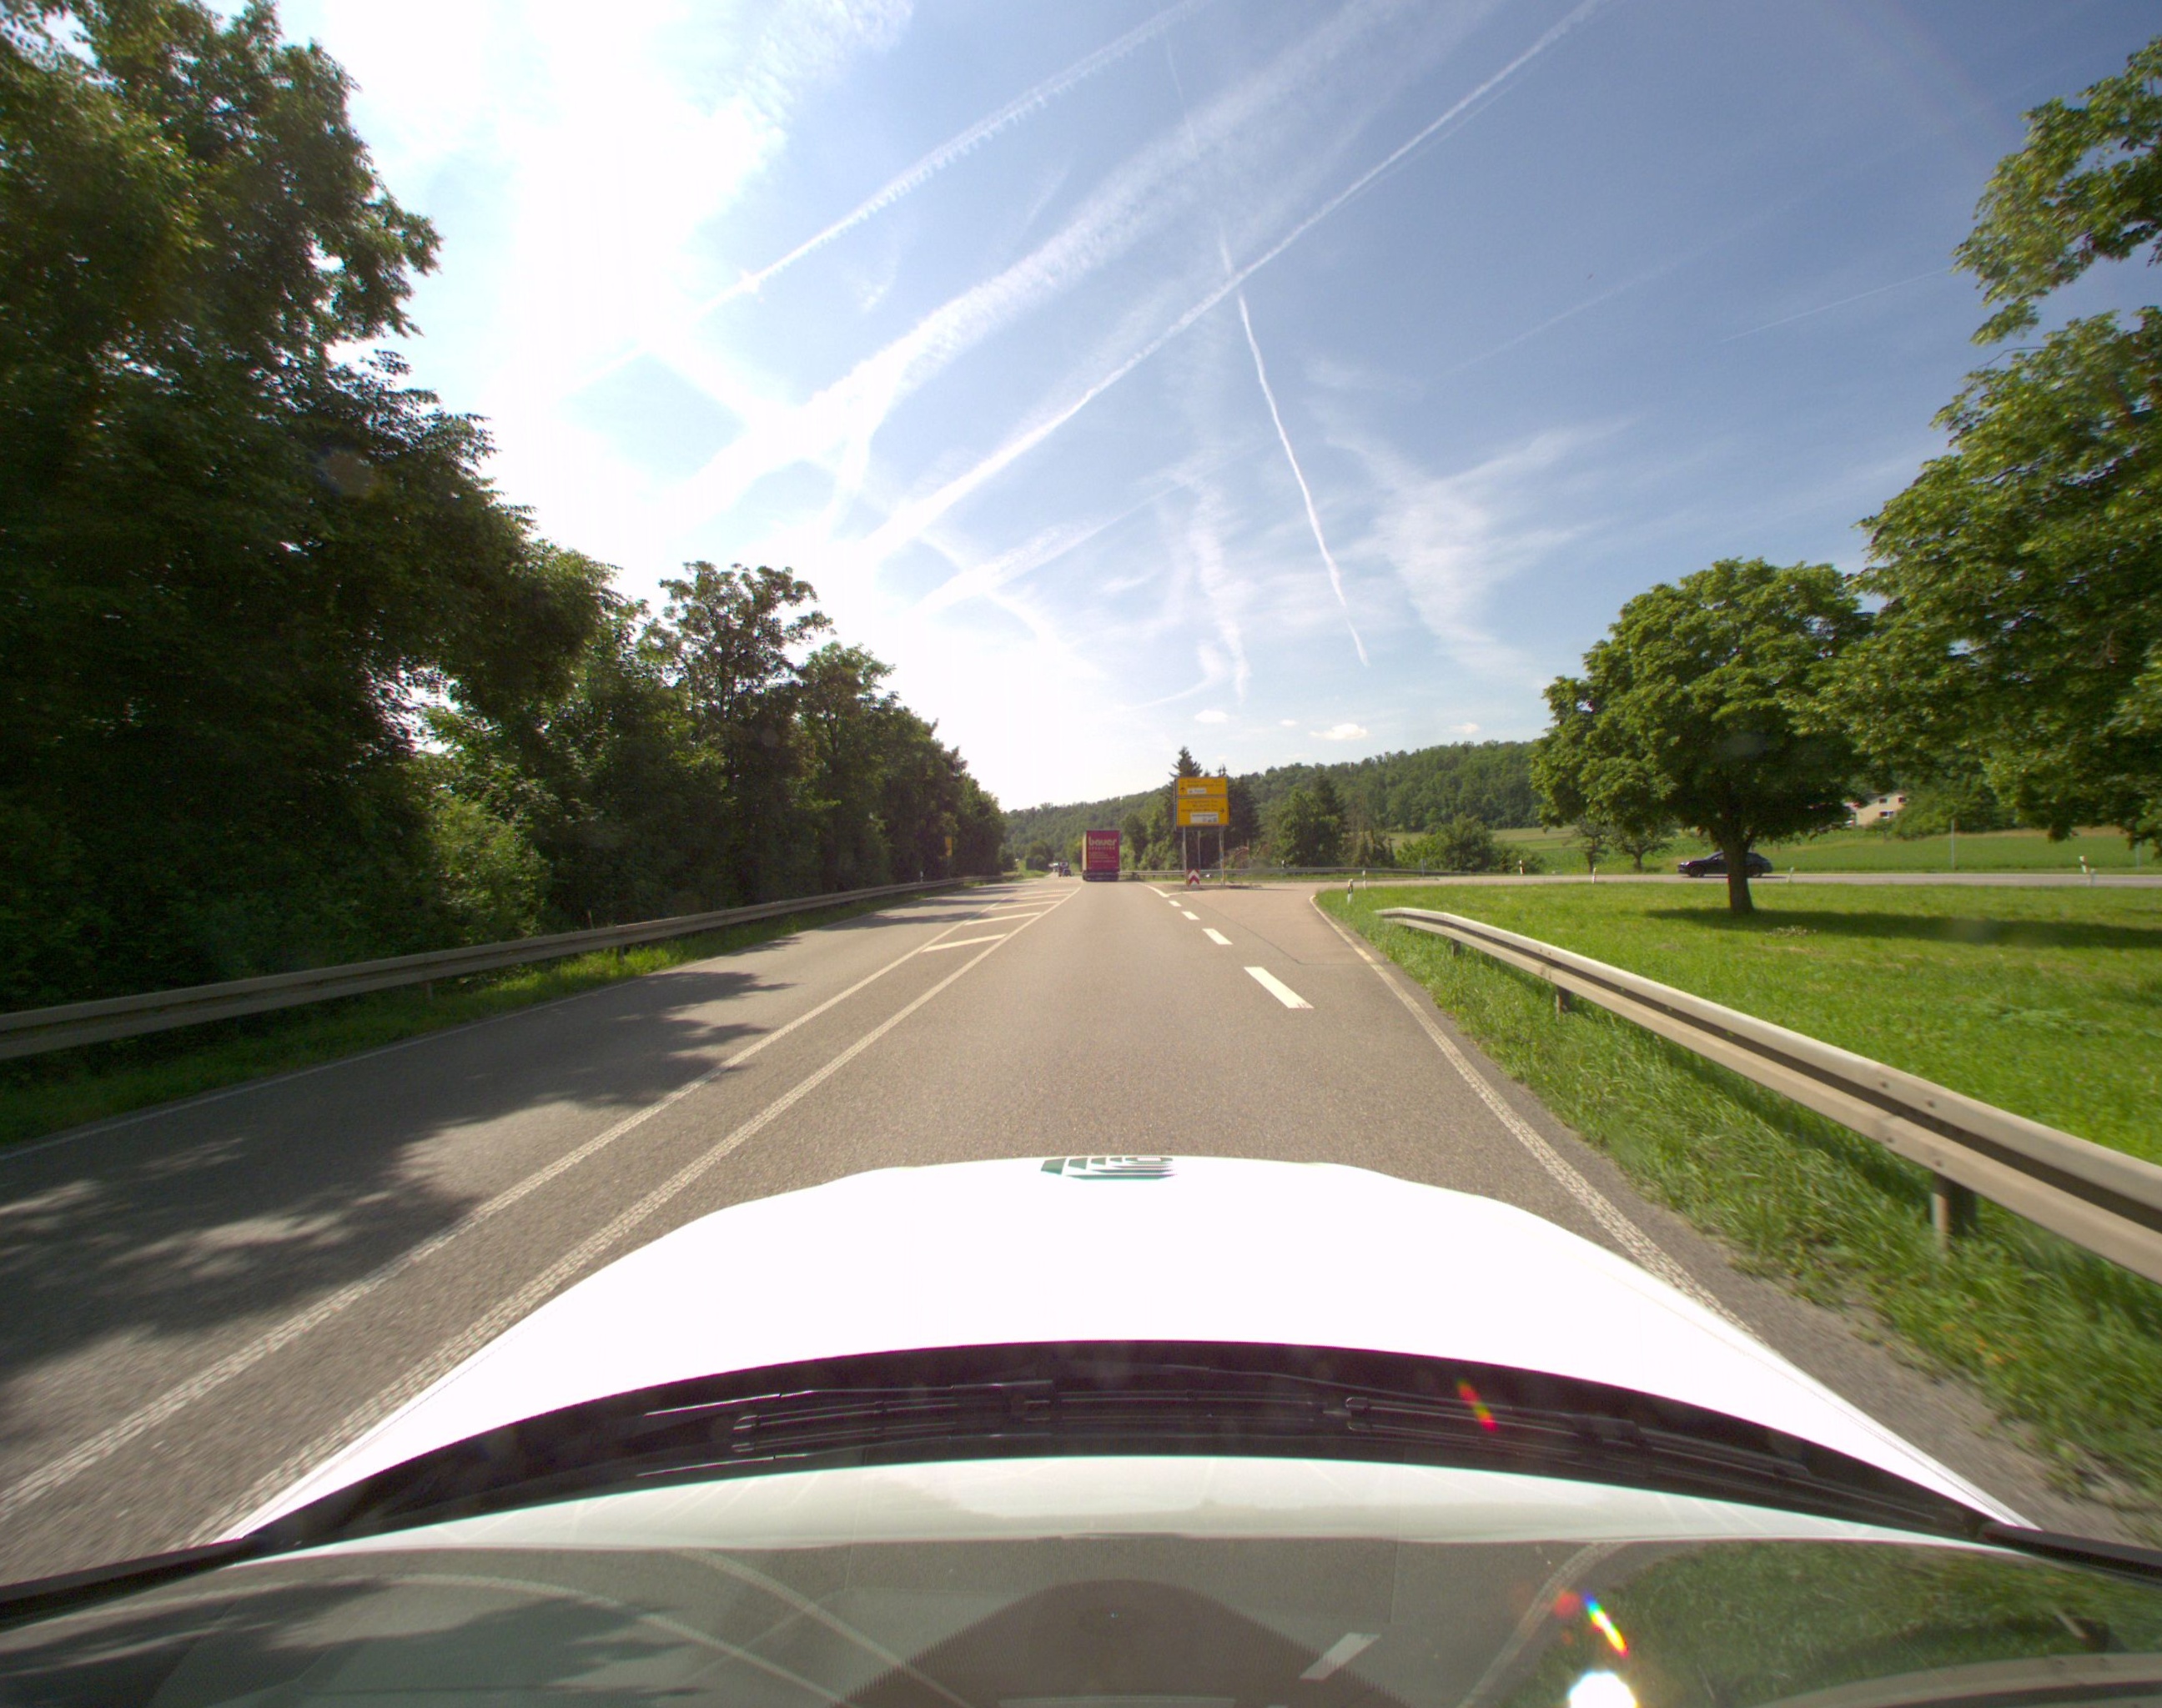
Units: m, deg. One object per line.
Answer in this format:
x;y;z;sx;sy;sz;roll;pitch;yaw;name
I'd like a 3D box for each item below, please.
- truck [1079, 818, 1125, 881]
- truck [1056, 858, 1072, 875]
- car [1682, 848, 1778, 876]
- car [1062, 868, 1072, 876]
1.569;-0.250;67.600;3.163;4.625;13.536;-1;-1;-1;truck
-4.541;3.306;214.536;3.895;4.370;13.279;1;-2;-2;truck
39.809;0.501;50.125;4.372;1.589;2.077;-1;1;31;car
-3.125;3.999;183.252;1.989;1.810;3.995;2;-2;-3;car
